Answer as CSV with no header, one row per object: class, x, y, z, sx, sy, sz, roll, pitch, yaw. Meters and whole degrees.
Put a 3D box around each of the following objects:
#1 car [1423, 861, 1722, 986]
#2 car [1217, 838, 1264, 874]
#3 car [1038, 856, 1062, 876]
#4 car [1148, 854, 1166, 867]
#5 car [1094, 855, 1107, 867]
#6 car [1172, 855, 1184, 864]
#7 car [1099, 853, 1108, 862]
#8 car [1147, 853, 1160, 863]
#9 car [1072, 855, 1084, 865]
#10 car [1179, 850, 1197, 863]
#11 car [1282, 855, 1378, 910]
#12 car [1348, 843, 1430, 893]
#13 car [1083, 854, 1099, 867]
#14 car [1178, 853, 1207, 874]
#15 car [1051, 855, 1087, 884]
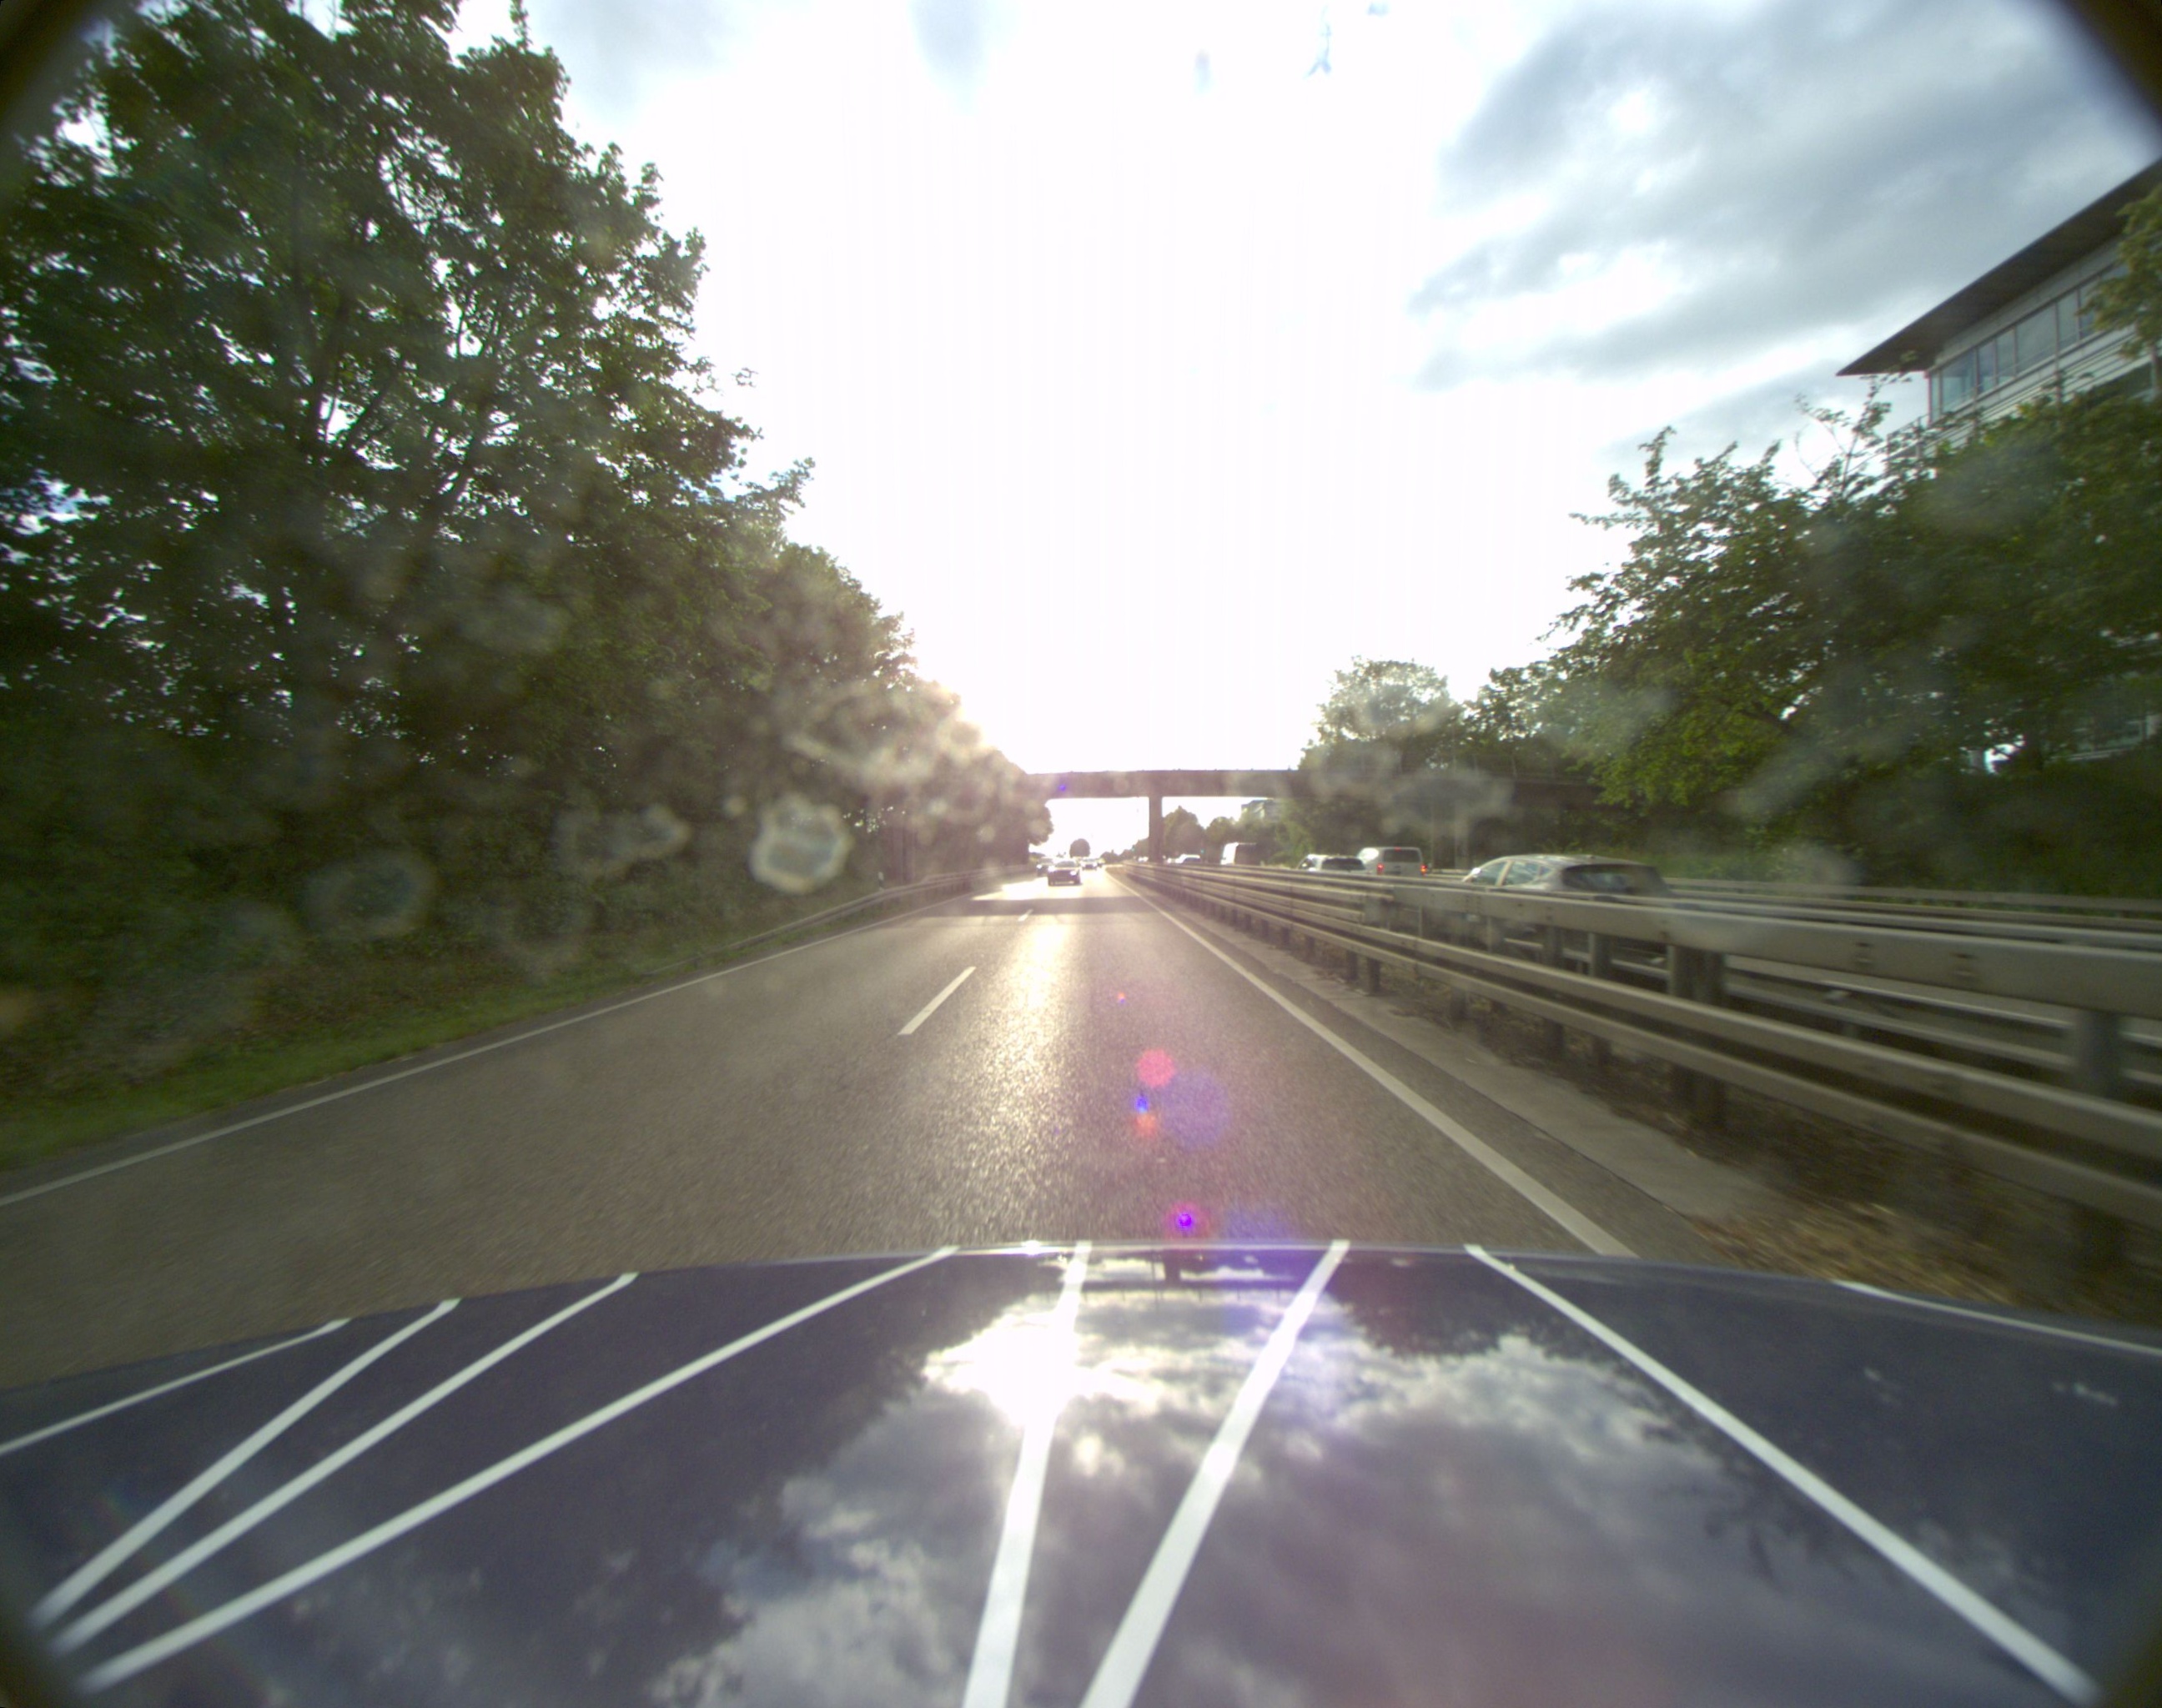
car,6.400,0.806,10.482,1.680,1.344,3.832,-1,0,1
car,11.989,0.161,57.649,2.255,2.522,6.941,-1,0,1
car,-2.657,1.024,66.021,1.723,1.657,4.420,-2,-1,2
car,9.347,0.793,93.301,1.827,1.575,4.791,-1,0,1
car,2.794,1.011,110.222,1.786,1.623,3.866,-2,-1,3
car,15.090,0.827,118.874,1.433,1.345,3.310,0,0,0
car,5.468,0.869,185.934,1.998,2.002,4.000,-2,0,1
car,10.952,0.614,114.605,1.722,1.458,3.734,-1,0,1
car,-0.544,1.076,132.431,1.948,1.652,4.001,-2,-1,2
car,14.033,0.283,99.692,1.839,1.527,4.397,3,0,2
car,7.262,0.774,22.518,1.686,1.477,3.646,-1,0,1
car,12.464,0.527,31.092,1.871,1.844,4.625,-2,0,6
car,1.180,0.779,88.907,1.723,1.493,4.420,-2,-1,3
car,8.284,0.689,56.701,1.610,1.519,3.640,-1,0,0
car,-0.658,0.853,43.683,1.723,1.467,3.729,-3,0,3
